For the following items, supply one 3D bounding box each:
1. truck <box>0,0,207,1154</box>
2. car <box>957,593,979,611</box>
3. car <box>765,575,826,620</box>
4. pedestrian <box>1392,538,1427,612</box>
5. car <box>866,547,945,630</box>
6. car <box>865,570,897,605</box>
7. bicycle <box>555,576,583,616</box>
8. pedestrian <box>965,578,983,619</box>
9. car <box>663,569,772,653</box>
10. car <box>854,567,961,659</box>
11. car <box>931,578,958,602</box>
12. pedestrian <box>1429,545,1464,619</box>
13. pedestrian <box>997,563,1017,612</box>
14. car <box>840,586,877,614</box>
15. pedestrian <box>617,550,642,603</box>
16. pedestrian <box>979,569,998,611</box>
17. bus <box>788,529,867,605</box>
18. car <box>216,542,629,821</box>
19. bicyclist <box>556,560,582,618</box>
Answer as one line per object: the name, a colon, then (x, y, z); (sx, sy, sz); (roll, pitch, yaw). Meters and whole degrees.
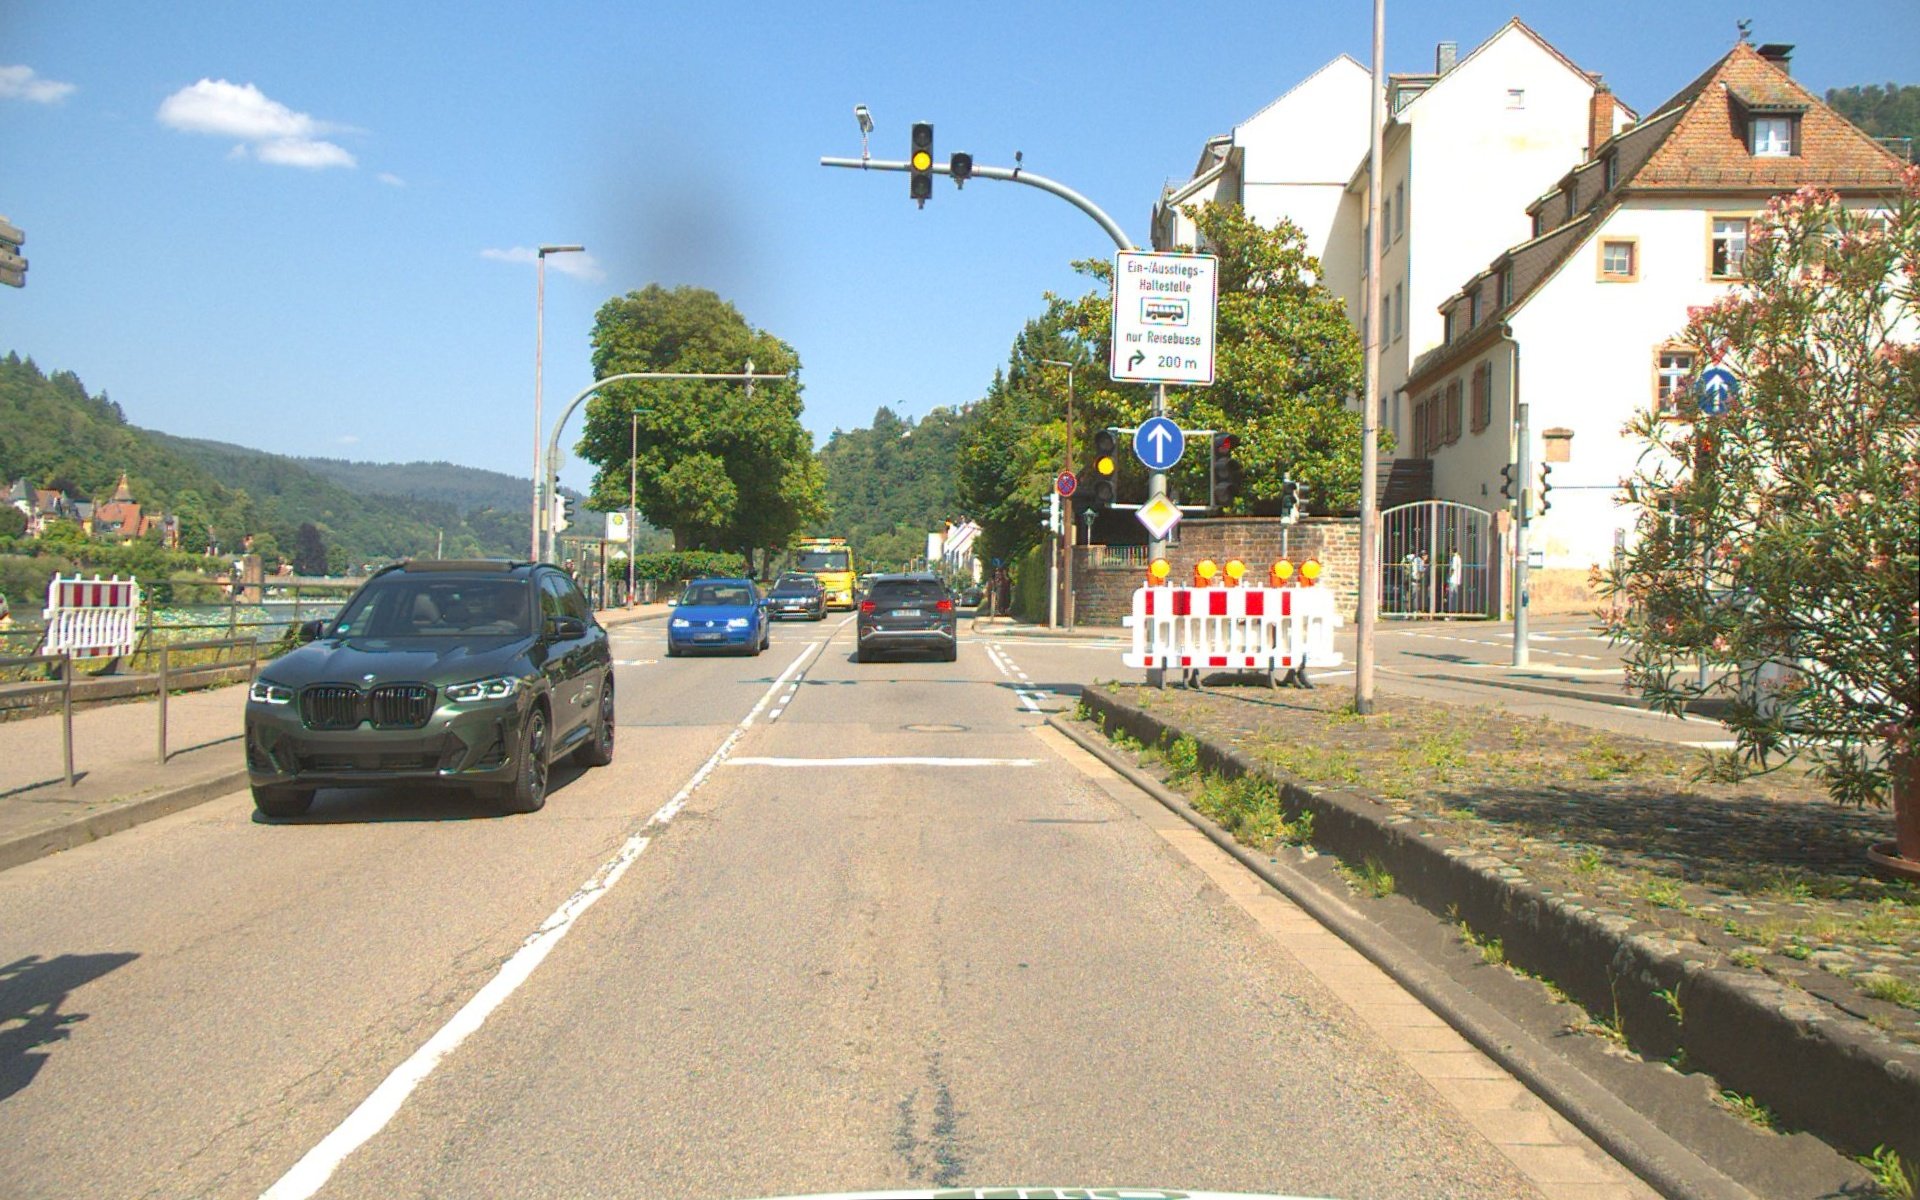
truck: (-3.495, -0.234, 1.434); (2.328, 3.318, 7.608); (-2, 0, -2)
car: (0.732, 0.173, 148.641); (1.953, 1.478, 4.008); (0, -1, 0)
car: (-5.386, -0.108, 54.624); (1.772, 1.430, 4.354); (0, 1, -3)
pedestrian: (10.545, -0.583, 38.783); (0.708, 1.735, 0.708); (0, 0, 21)
car: (-1.434, -0.252, 43.302); (1.953, 2.049, 3.998); (0, -1, -2)
car: (-5.461, -0.908, 114.922); (2.053, 2.342, 5.868); (0, 1, -1)
bicycle: (-11.299, -0.129, 47.828); (0.655, 1.132, 2.029); (0, 0, -10)
pedestrian: (0.609, -0.065, 70.394); (0.713, 1.678, 0.882); (-2, 0, 2)
car: (-4.657, 0.182, 32.261); (1.694, 1.517, 4.323); (0, 0, -3)
car: (-0.953, 0.180, 30.083); (1.819, 1.550, 3.999); (0, 1, -2)
car: (-1.028, -0.673, 112.058); (1.758, 1.508, 4.000); (1, 0, 1)
pedestrian: (11.624, -0.431, 39.542); (0.692, 1.735, 0.725); (0, 0, 26)
pedestrian: (1.745, -0.465, 61.581); (0.667, 1.773, 0.913); (1, 0, -1)
car: (-5.561, -0.019, 90.982); (1.778, 1.422, 4.346); (0, 1, -1)
pedestrian: (-12.408, -0.885, 62.104); (0.738, 1.951, 1.009); (0, -2, 0)
pedestrian: (1.114, -0.403, 65.215); (0.720, 1.662, 0.920); (0, 1, 0)
bus: (-5.400, -1.329, 68.622); (2.544, 2.947, 8.447); (0, 1, 0)
car: (-3.765, 0.485, 12.460); (1.825, 1.710, 4.452); (0, 0, -3)
bicyclist: (-11.302, -0.311, 47.822); (0.655, 1.660, 0.977); (0, 0, -11)
